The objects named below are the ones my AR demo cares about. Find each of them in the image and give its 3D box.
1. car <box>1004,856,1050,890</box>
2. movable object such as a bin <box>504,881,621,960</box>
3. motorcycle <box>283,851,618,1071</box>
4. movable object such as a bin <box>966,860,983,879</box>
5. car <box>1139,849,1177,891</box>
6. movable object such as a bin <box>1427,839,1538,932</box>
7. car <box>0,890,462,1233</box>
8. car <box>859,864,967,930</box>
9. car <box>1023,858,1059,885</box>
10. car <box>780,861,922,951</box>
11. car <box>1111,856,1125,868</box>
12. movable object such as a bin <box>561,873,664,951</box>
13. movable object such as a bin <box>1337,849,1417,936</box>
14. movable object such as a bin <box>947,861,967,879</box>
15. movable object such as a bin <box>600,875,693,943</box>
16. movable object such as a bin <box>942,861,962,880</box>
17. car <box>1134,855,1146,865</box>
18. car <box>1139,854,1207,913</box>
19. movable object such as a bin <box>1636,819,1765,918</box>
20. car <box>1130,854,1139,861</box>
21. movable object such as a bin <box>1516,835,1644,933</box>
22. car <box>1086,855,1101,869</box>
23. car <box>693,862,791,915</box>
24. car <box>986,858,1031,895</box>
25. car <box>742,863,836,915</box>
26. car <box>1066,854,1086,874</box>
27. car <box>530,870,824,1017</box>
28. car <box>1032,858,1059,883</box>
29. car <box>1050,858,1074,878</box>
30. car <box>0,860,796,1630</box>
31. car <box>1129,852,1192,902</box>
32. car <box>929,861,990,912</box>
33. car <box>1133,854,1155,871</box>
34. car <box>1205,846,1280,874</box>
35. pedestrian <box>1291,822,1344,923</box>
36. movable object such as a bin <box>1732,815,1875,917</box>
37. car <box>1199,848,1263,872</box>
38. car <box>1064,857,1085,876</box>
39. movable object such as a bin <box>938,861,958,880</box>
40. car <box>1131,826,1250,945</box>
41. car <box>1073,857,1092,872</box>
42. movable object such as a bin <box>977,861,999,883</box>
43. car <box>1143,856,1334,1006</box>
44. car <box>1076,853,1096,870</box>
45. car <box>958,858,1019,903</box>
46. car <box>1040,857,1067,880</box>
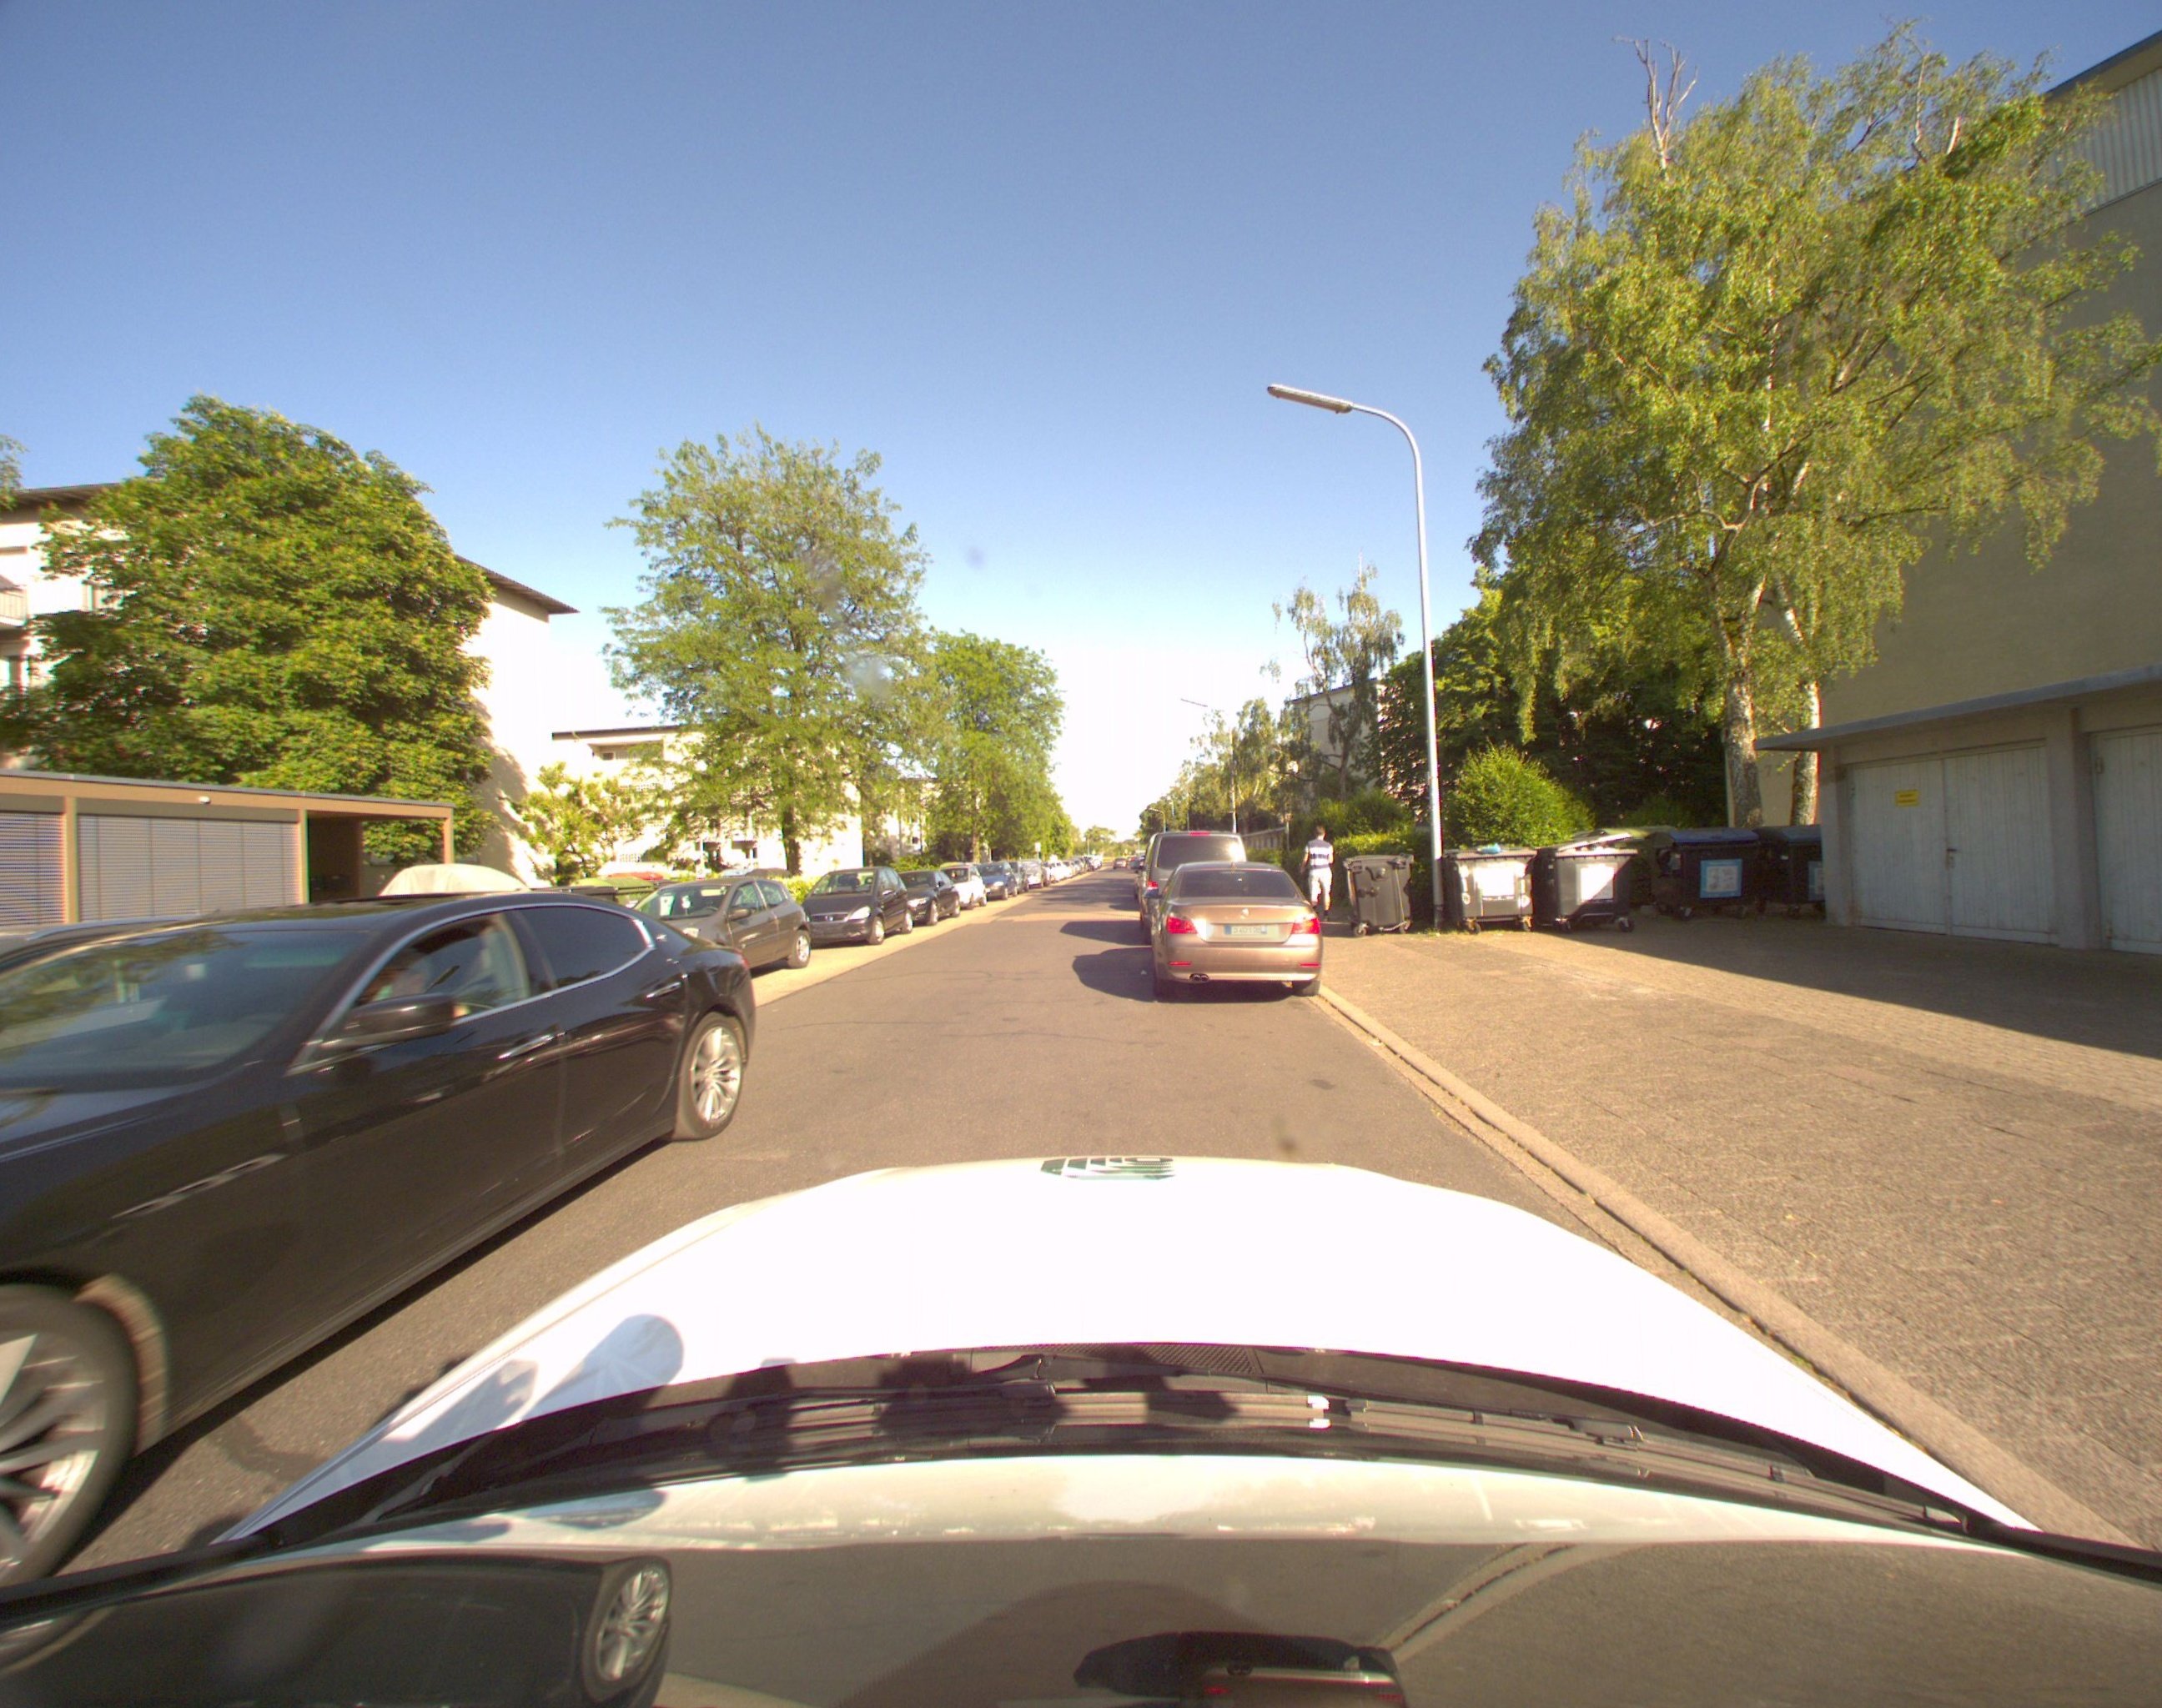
[{"bbox_3d":[-2.917,0.993,44.814,1.895,1.639,4.353,-3,0,3],"label":"car"},{"bbox_3d":[-9.325,1.178,14.725,1.172,1.288,1.344,-2,0,4],"label":"movable object such as a bin"},{"bbox_3d":[-5.759,0.935,7.560,2.248,1.726,0.932,-5,-1,0],"label":"motorcycle"},{"bbox_3d":[-8.526,1.237,65.208,1.129,1.421,1.362,0,0,5],"label":"movable object such as a bin"},{"bbox_3d":[3.312,0.681,35.377,1.482,1.718,2.585,-1,0,3],"label":"car"},{"bbox_3d":[6.310,0.476,12.884,1.217,1.365,1.135,-3,0,7],"label":"movable object such as a bin"},{"bbox_3d":[-5.704,1.045,4.025,1.747,1.421,4.273,-5,0,3],"label":"car"},{"bbox_3d":[-4.463,1.090,22.401,1.747,1.481,4.540,-5,0,2],"label":"car"},{"bbox_3d":[-2.437,1.043,50.629,1.655,1.513,3.950,-3,0,4],"label":"car"},{"bbox_3d":[-4.776,1.004,17.445,1.747,1.574,3.722,-5,0,2],"label":"car"},{"bbox_3d":[4.624,1.002,102.087,1.673,1.513,4.105,-1,0,1],"label":"car"},{"bbox_3d":[-9.215,1.114,16.083,1.172,1.408,1.344,-2,0,4],"label":"movable object such as a bin"},{"bbox_3d":[4.997,0.629,13.872,1.019,1.310,1.392,-6,-1,13],"label":"movable object such as a bin"},{"bbox_3d":[-9.847,1.268,64.695,1.172,1.421,1.464,0,0,5],"label":"movable object such as a bin"},{"bbox_3d":[-9.318,1.154,17.516,1.172,1.340,1.345,-2,0,5],"label":"movable object such as a bin"},{"bbox_3d":[-10.009,1.257,63.180,1.172,1.421,1.464,0,0,5],"label":"movable object such as a bin"},{"bbox_3d":[9.784,0.936,136.115,1.789,1.561,3.952,-1,0,1],"label":"car"},{"bbox_3d":[2.479,0.757,22.779,1.616,1.490,4.039,-1,0,3],"label":"car"},{"bbox_3d":[10.016,0.212,13.229,1.269,1.465,1.135,-3,3,7],"label":"movable object such as a bin"},{"bbox_3d":[12.516,0.888,191.465,1.789,1.548,3.952,-1,0,1],"label":"car"},{"bbox_3d":[7.567,0.441,12.427,1.269,1.365,1.135,-3,0,7],"label":"movable object such as a bin"},{"bbox_3d":[1.770,1.092,113.251,1.739,1.732,4.009,-4,0,3],"label":"car"},{"bbox_3d":[-11.493,1.113,27.894,1.564,1.641,4.001,-1,0,2],"label":"car"},{"bbox_3d":[-3.454,1.028,39.326,1.629,1.606,3.537,-3,0,2],"label":"car"},{"bbox_3d":[-9.599,1.092,27.089,1.564,1.525,4.001,-1,0,2],"label":"car"},{"bbox_3d":[-0.489,1.006,84.319,1.847,1.892,4.420,-4,0,2],"label":"car"},{"bbox_3d":[-5.284,1.077,11.350,1.746,1.481,3.965,-5,0,5],"label":"car"},{"bbox_3d":[-2.422,1.078,55.117,1.659,1.513,3.534,-3,0,-3],"label":"car"},{"bbox_3d":[-1.571,1.158,67.363,1.680,1.505,3.819,-3,0,2],"label":"car"},{"bbox_3d":[-3.016,0.831,3.180,1.902,1.476,4.574,-3,0,3],"label":"car"},{"bbox_3d":[2.666,0.732,28.204,1.725,1.490,4.502,-3,0,1],"label":"car"},{"bbox_3d":[-4.228,1.102,28.703,1.439,1.574,3.144,-5,0,2],"label":"car"},{"bbox_3d":[5.720,0.784,73.910,1.747,1.513,4.105,-1,0,1],"label":"car"},{"bbox_3d":[10.331,0.408,52.363,4.493,1.513,1.831,-3,0,4],"label":"car"},{"bbox_3d":[4.623,0.353,15.977,0.700,1.888,0.873,-5,-1,4],"label":"pedestrian"},{"bbox_3d":[11.305,0.153,12.803,1.269,1.465,1.135,-3,3,7],"label":"movable object such as a bin"},{"bbox_3d":[11.105,0.455,60.589,4.396,1.513,1.831,-3,0,3],"label":"car"},{"bbox_3d":[-0.594,1.158,77.890,1.703,1.600,3.987,-5,0,2],"label":"car"},{"bbox_3d":[-9.988,1.245,61.321,1.172,1.421,1.464,0,0,5],"label":"movable object such as a bin"},{"bbox_3d":[1.941,0.522,15.709,1.845,1.934,4.708,-1,0,3],"label":"car"},{"bbox_3d":[0.173,1.170,93.138,1.738,1.533,4.145,-4,0,6],"label":"car"},{"bbox_3d":[-6.103,1.174,53.625,1.131,1.382,1.444,0,0,5],"label":"movable object such as a bin"},{"bbox_3d":[1.725,0.759,10.213,1.792,1.419,4.642,-1,0,5],"label":"car"},{"bbox_3d":[0.641,0.890,99.468,1.906,1.962,5.093,-4,0,4],"label":"car"},{"bbox_3d":[-3.810,1.060,34.201,1.746,1.606,3.973,-5,0,4],"label":"car"},{"bbox_3d":[-2.039,1.065,61.621,1.680,1.535,3.893,-3,0,3],"label":"car"}]
